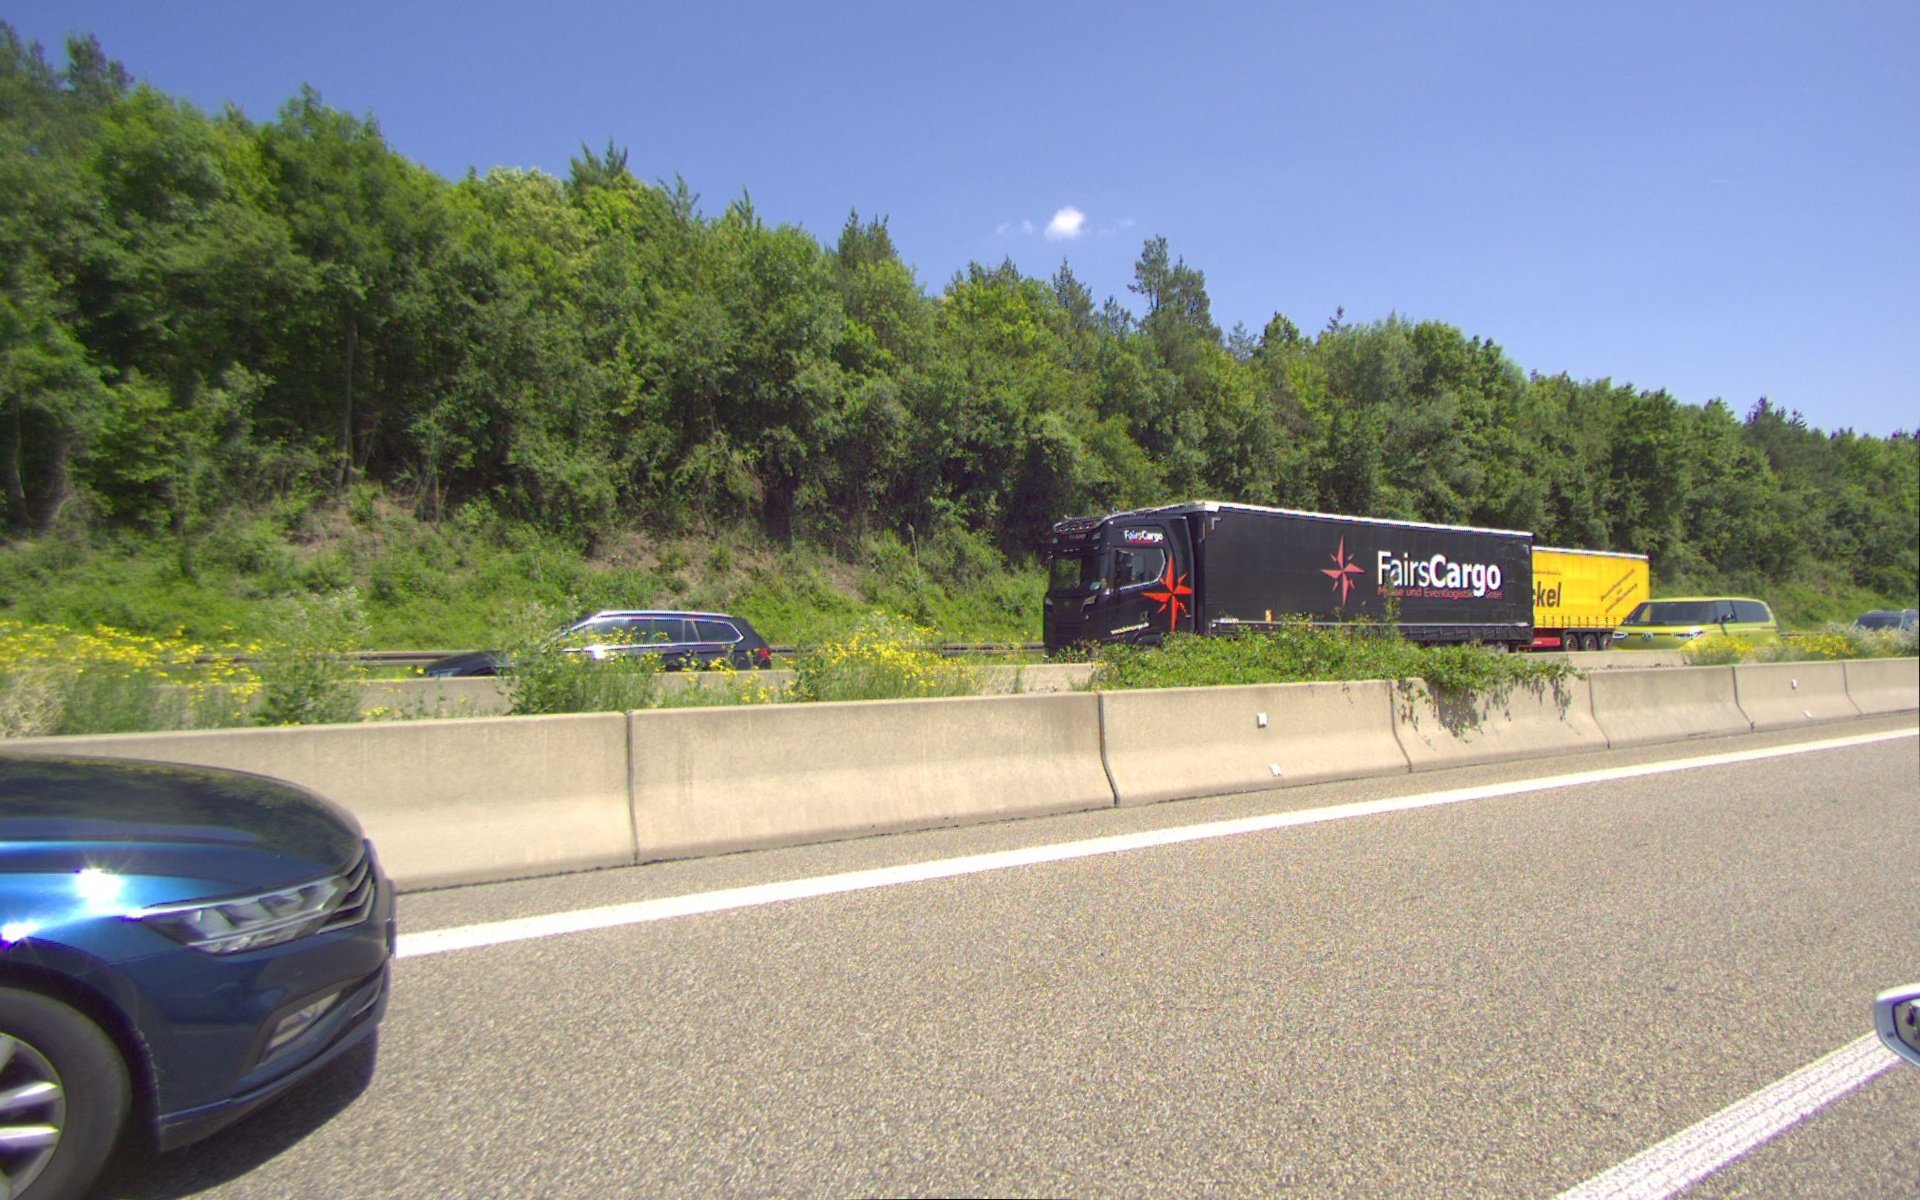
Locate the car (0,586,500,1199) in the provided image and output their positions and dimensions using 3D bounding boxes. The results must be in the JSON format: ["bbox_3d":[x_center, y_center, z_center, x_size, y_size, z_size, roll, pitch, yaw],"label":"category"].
[{"bbox_3d":[-3.656,0.696,2.206,4.674,1.446,1.724,1,-2,-31],"label":"car"}]

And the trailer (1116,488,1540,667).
[{"bbox_3d":[10.502,-0.248,27.381,13.729,4.026,2.892,2,-3,-31],"label":"trailer"}]

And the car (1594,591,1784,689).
[{"bbox_3d":[16.650,0.958,22.906,4.416,2.039,1.871,2,-4,-31],"label":"car"}]

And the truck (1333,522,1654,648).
[{"bbox_3d":[20.774,-0.278,38.228,16.081,4.035,3.022,2,-2,-31],"label":"truck"}]

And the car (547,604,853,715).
[{"bbox_3d":[-3.644,0.789,14.270,3.954,1.384,1.555,1,-2,-31],"label":"car"}]

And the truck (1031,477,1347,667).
[{"bbox_3d":[5.676,-0.429,24.442,7.680,4.026,2.892,2,-3,-31],"label":"truck"}]

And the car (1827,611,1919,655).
[{"bbox_3d":[34.755,1.294,37.989,4.370,1.578,1.677,2,-3,-31],"label":"car"}]
